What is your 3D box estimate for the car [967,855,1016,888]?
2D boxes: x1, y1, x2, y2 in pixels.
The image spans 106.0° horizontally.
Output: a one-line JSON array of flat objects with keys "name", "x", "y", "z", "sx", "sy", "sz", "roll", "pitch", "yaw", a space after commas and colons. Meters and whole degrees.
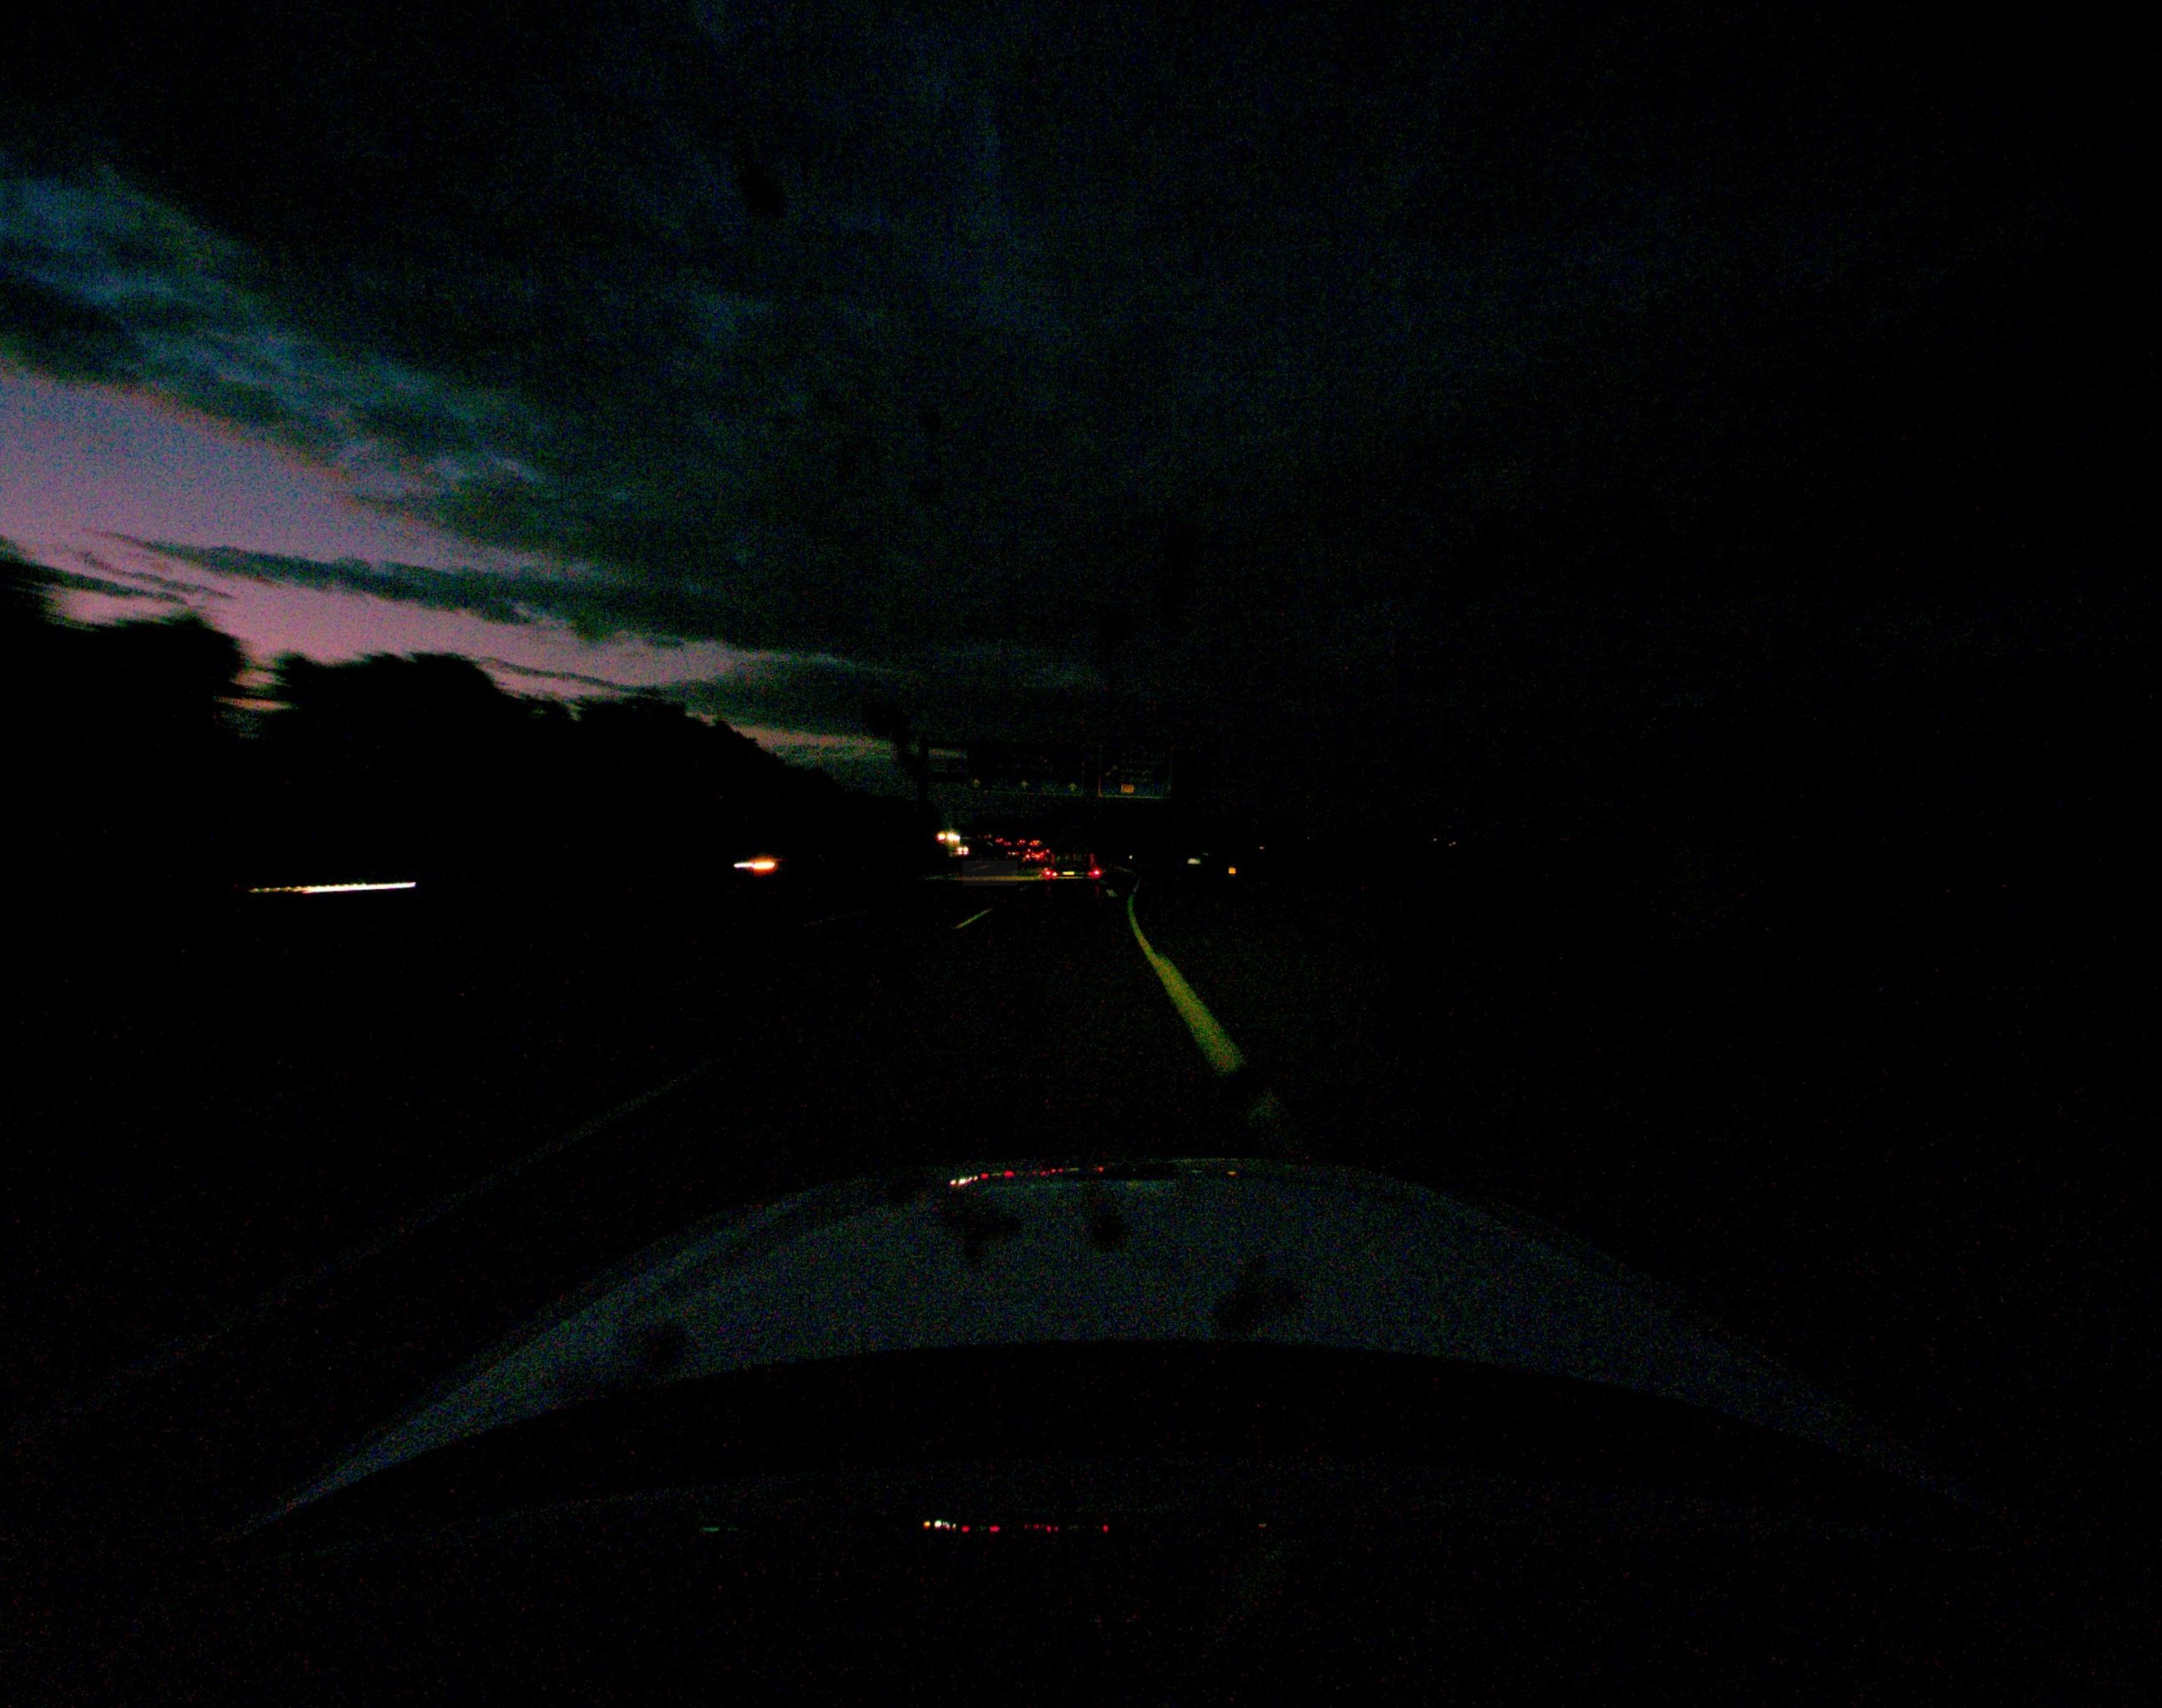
[{"name": "car", "x": -4.587, "y": 0.910, "z": 42.310, "sx": 1.900, "sy": 1.614, "sz": 4.803, "roll": 1, "pitch": -2, "yaw": 1}]

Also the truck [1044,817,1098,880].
[{"name": "truck", "x": -0.681, "y": -0.381, "z": 56.962, "sx": 3.540, "sy": 4.091, "sz": 6.149, "roll": -1, "pitch": 0, "yaw": -1}]

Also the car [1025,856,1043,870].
[{"name": "car", "x": -6.114, "y": 1.230, "z": 106.547, "sx": 2.059, "sy": 1.686, "sz": 4.575, "roll": 1, "pitch": -2, "yaw": 0}]

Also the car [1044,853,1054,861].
[{"name": "car", "x": -6.746, "y": 0.581, "z": 173.633, "sx": 1.988, "sy": 1.534, "sz": 3.997, "roll": 1, "pitch": -2, "yaw": -1}]

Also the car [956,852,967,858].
[{"name": "car", "x": -28.298, "y": 0.147, "z": 193.036, "sx": 1.988, "sy": 1.419, "sz": 4.149, "roll": 1, "pitch": 0, "yaw": -1}]

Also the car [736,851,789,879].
[{"name": "car", "x": -22.857, "y": 0.833, "z": 58.660, "sx": 1.988, "sy": 1.893, "sz": 4.676, "roll": 1, "pitch": -2, "yaw": -1}]

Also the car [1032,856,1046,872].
[{"name": "car", "x": -6.411, "y": 1.506, "z": 124.279, "sx": 1.990, "sy": 2.381, "sz": 3.992, "roll": 1, "pitch": -2, "yaw": -5}]

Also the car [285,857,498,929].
[{"name": "car", "x": -20.031, "y": 1.098, "z": 24.048, "sx": 1.869, "sy": 1.893, "sz": 5.057, "roll": 1, "pitch": -2, "yaw": 1}]

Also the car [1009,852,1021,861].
[{"name": "car", "x": -11.654, "y": 0.459, "z": 143.566, "sx": 1.757, "sy": 1.575, "sz": 4.573, "roll": 1, "pitch": -2, "yaw": -2}]

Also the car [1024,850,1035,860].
[{"name": "car", "x": -10.715, "y": 0.210, "z": 169.867, "sx": 1.987, "sy": 2.014, "sz": 3.999, "roll": 1, "pitch": -2, "yaw": 0}]

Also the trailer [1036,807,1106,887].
[{"name": "trailer", "x": -0.592, "y": -0.369, "z": 49.628, "sx": 3.539, "sy": 4.116, "sz": 15.058, "roll": -1, "pitch": 0, "yaw": -1}]
